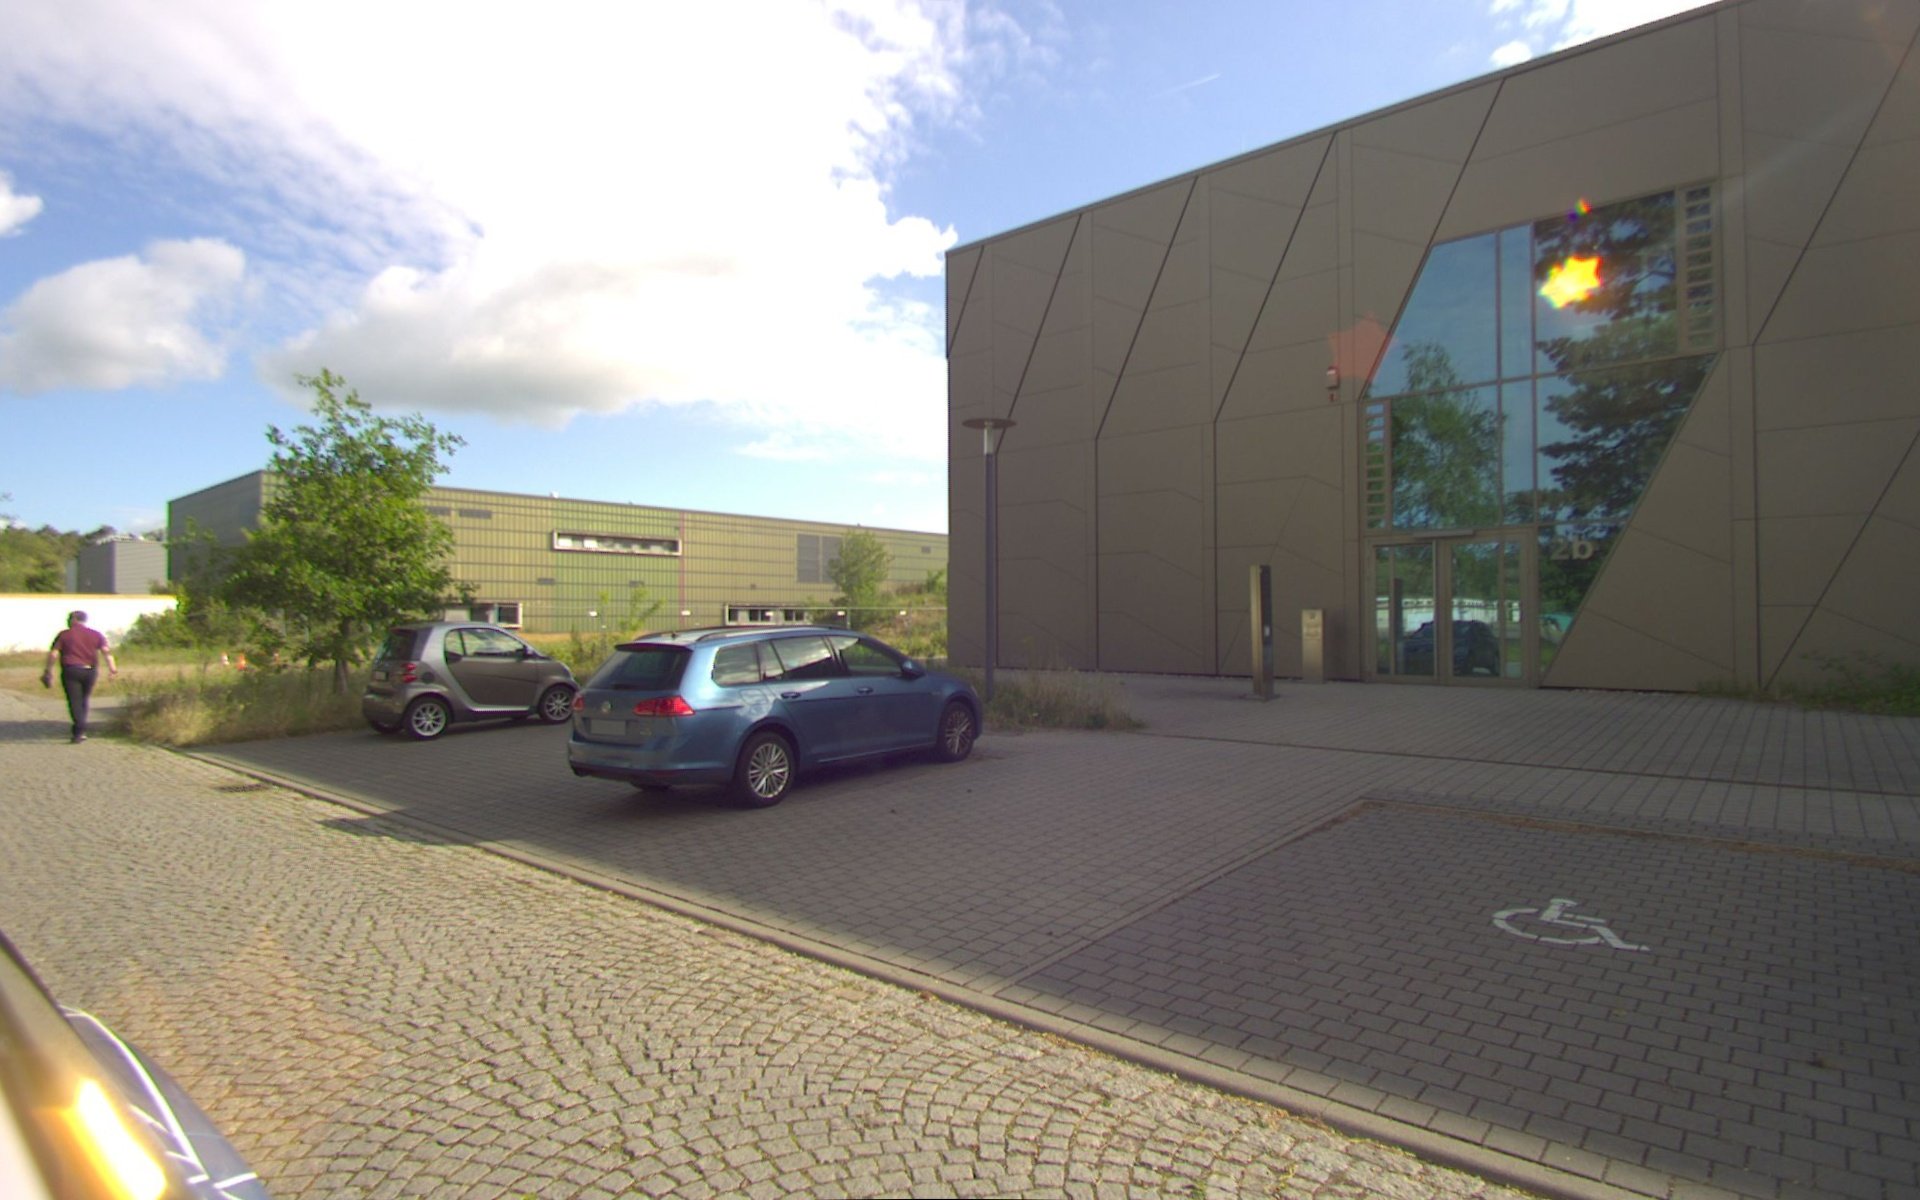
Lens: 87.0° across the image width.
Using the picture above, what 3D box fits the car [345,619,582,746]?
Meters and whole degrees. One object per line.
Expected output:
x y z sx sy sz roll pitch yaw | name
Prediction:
-7.080 1.094 14.571 1.517 1.554 2.672 -2 0 40 | car

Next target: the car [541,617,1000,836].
-1.539 0.974 9.608 1.678 1.475 4.216 -2 0 38 | car

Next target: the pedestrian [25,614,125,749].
-12.269 1.090 14.032 1.151 1.785 0.797 -2 -2 37 | pedestrian
